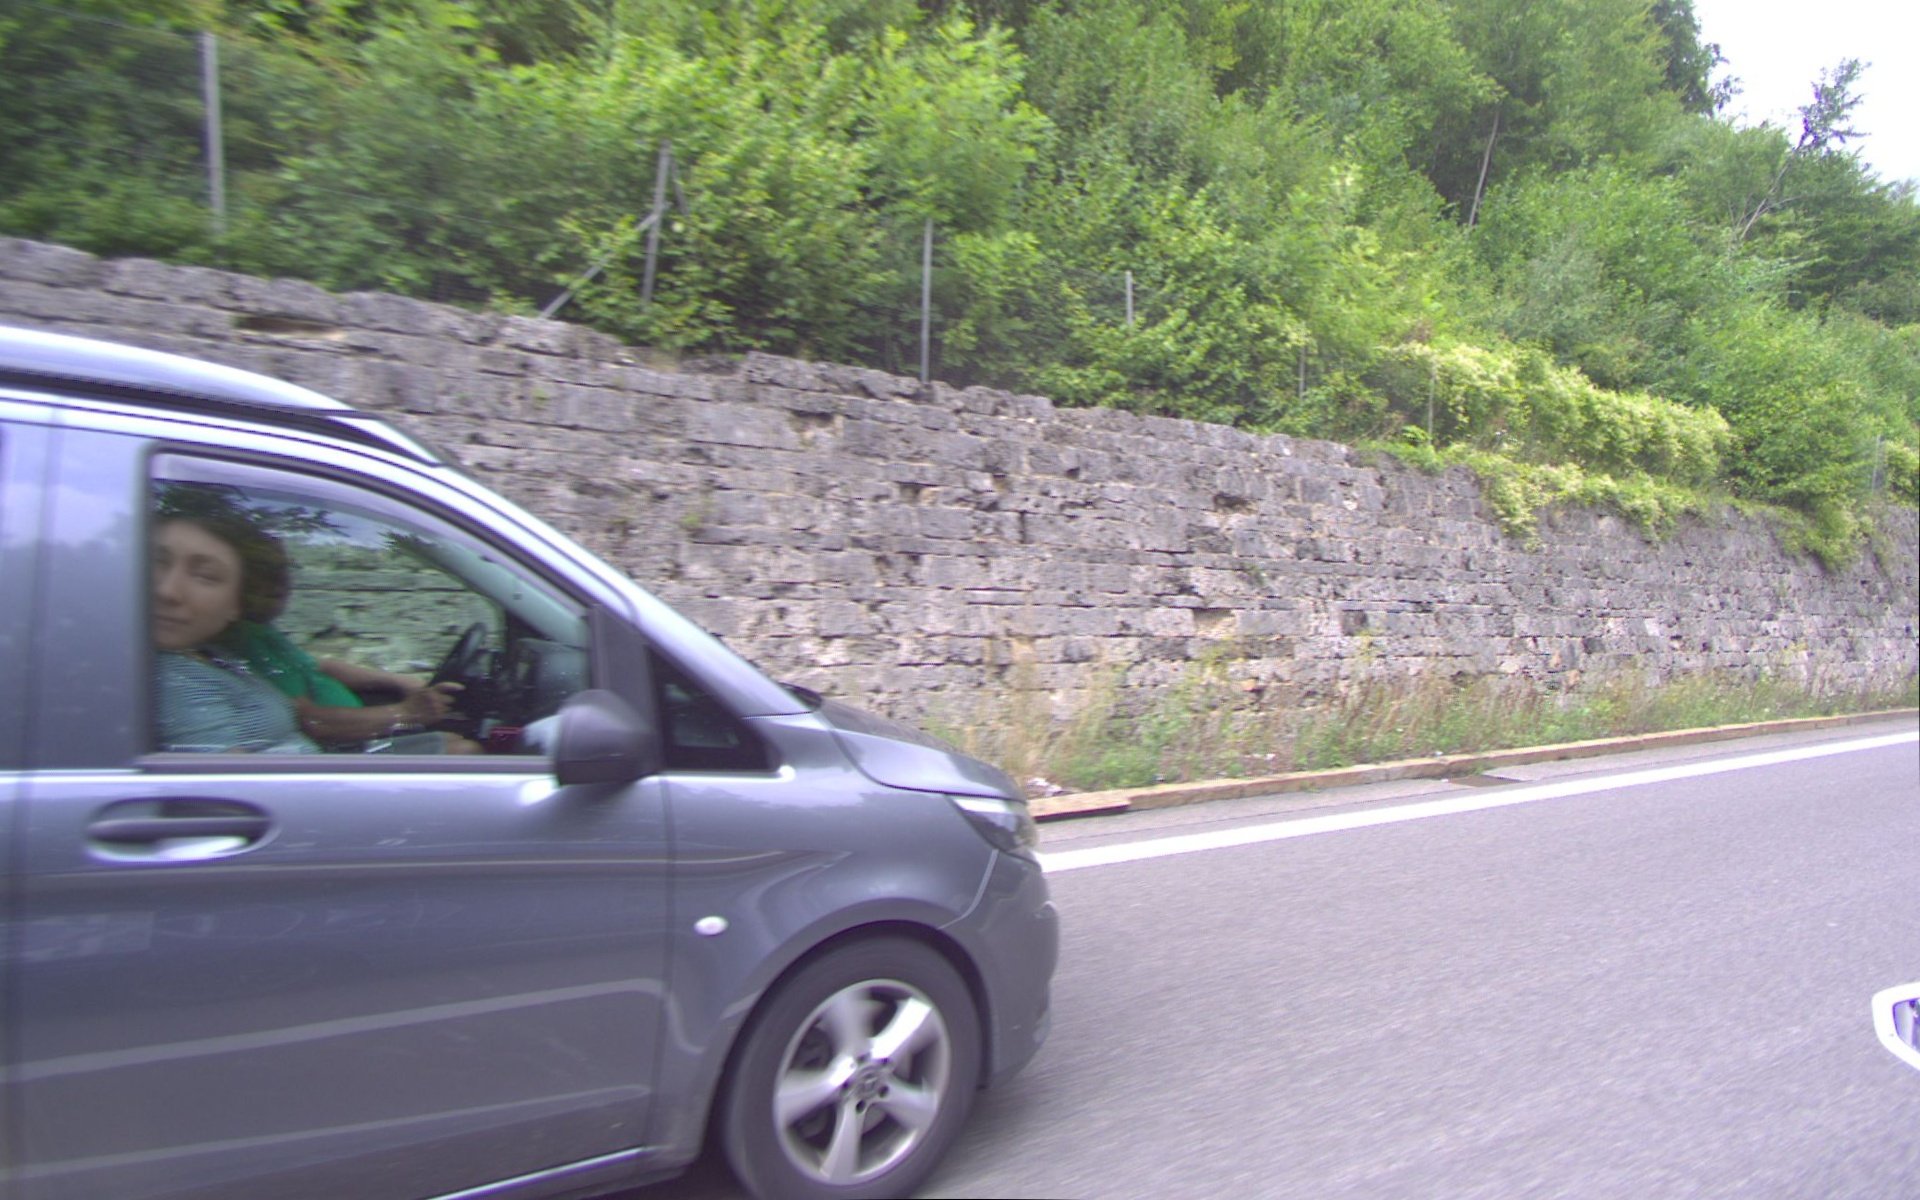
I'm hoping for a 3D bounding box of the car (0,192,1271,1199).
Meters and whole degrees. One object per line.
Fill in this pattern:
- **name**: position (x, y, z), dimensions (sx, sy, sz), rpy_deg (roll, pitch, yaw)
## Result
- **car**: position (-1.946, 0.409, 2.355), dimensions (5.476, 2.040, 1.983), rpy_deg (1, 0, -31)
